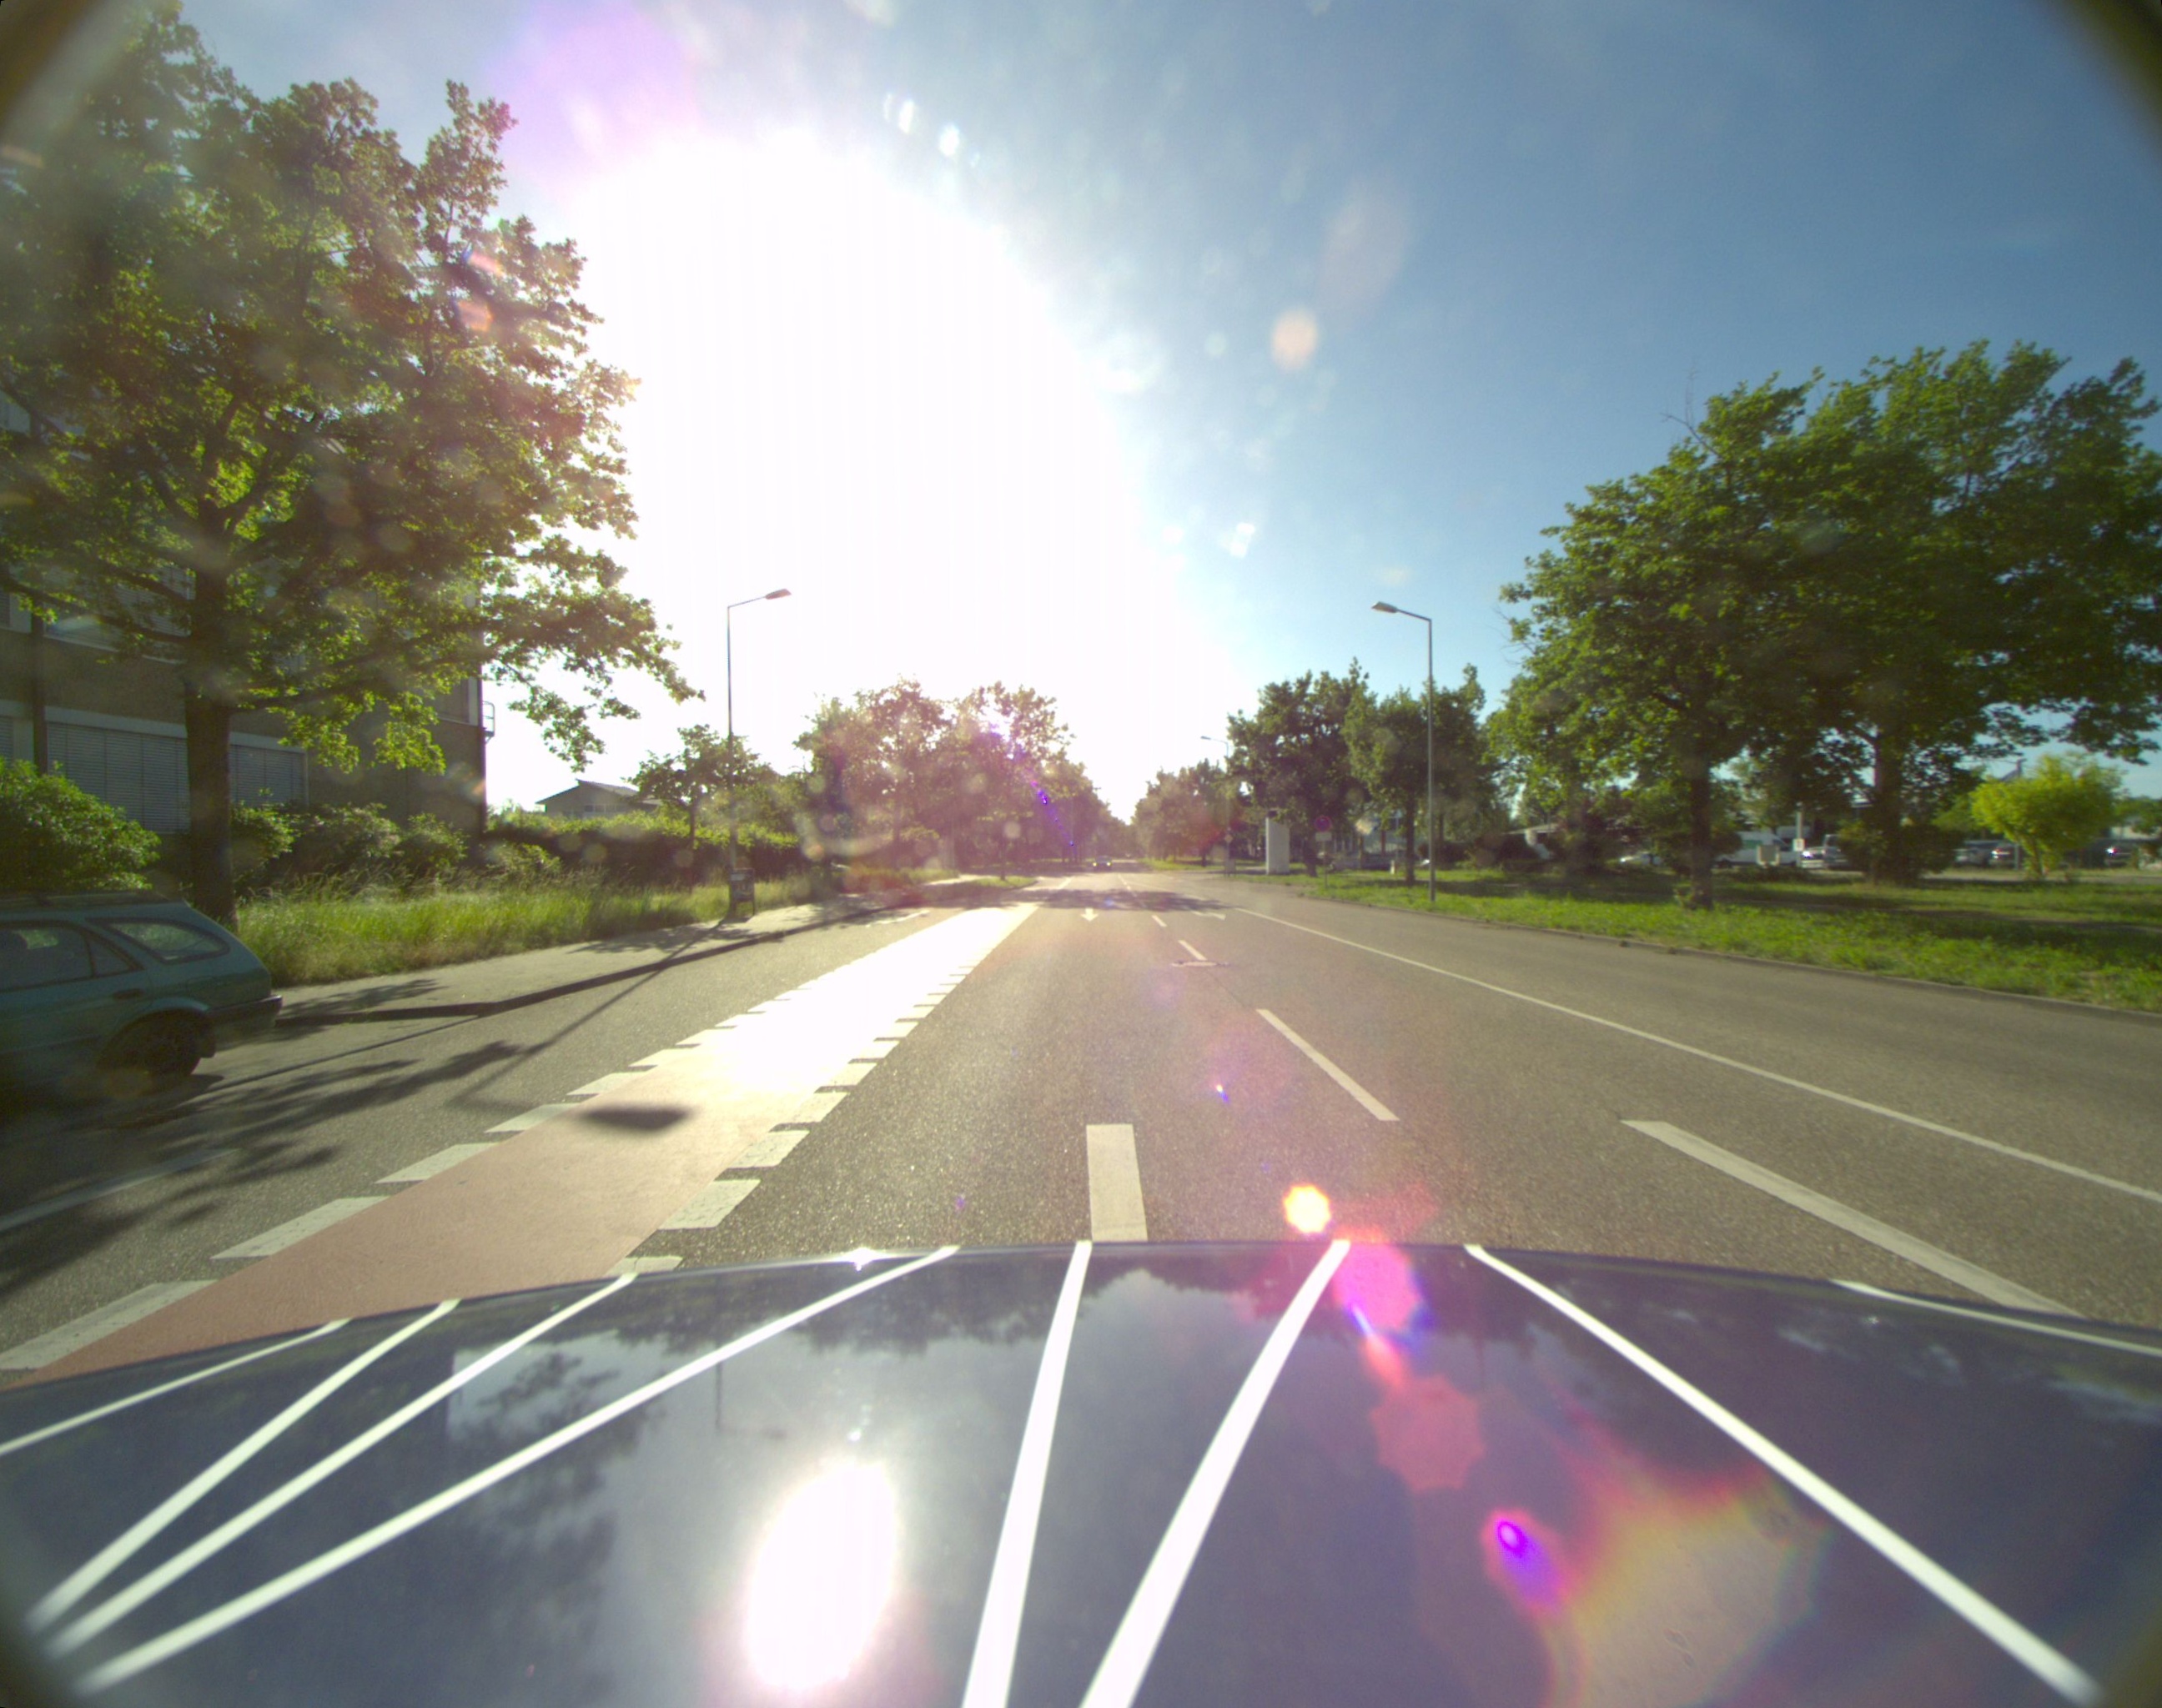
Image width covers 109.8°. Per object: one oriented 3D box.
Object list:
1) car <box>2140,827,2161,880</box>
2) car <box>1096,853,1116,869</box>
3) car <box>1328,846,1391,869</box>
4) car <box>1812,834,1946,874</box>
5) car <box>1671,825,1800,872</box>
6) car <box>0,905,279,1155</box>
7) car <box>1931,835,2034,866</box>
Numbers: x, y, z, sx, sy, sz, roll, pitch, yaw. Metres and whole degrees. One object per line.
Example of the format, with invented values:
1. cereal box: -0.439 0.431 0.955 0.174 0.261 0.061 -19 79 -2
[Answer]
1. car: 33.889 -0.087 22.049 3.817 1.562 1.736 -2 -1 0
2. car: 2.489 0.660 75.146 1.652 1.460 3.942 -2 0 6
3. car: 23.930 0.289 65.379 4.637 1.822 2.000 -2 1 0
4. car: 40.062 -0.008 38.230 4.642 1.771 1.990 -2 1 0
5. car: 39.901 -0.342 46.407 6.023 2.540 2.409 -2 1 -4
6. car: -7.524 1.130 4.229 1.706 1.460 4.141 -1 -1 0
7. car: 52.089 -0.210 43.969 3.860 1.661 1.762 -2 1 0
